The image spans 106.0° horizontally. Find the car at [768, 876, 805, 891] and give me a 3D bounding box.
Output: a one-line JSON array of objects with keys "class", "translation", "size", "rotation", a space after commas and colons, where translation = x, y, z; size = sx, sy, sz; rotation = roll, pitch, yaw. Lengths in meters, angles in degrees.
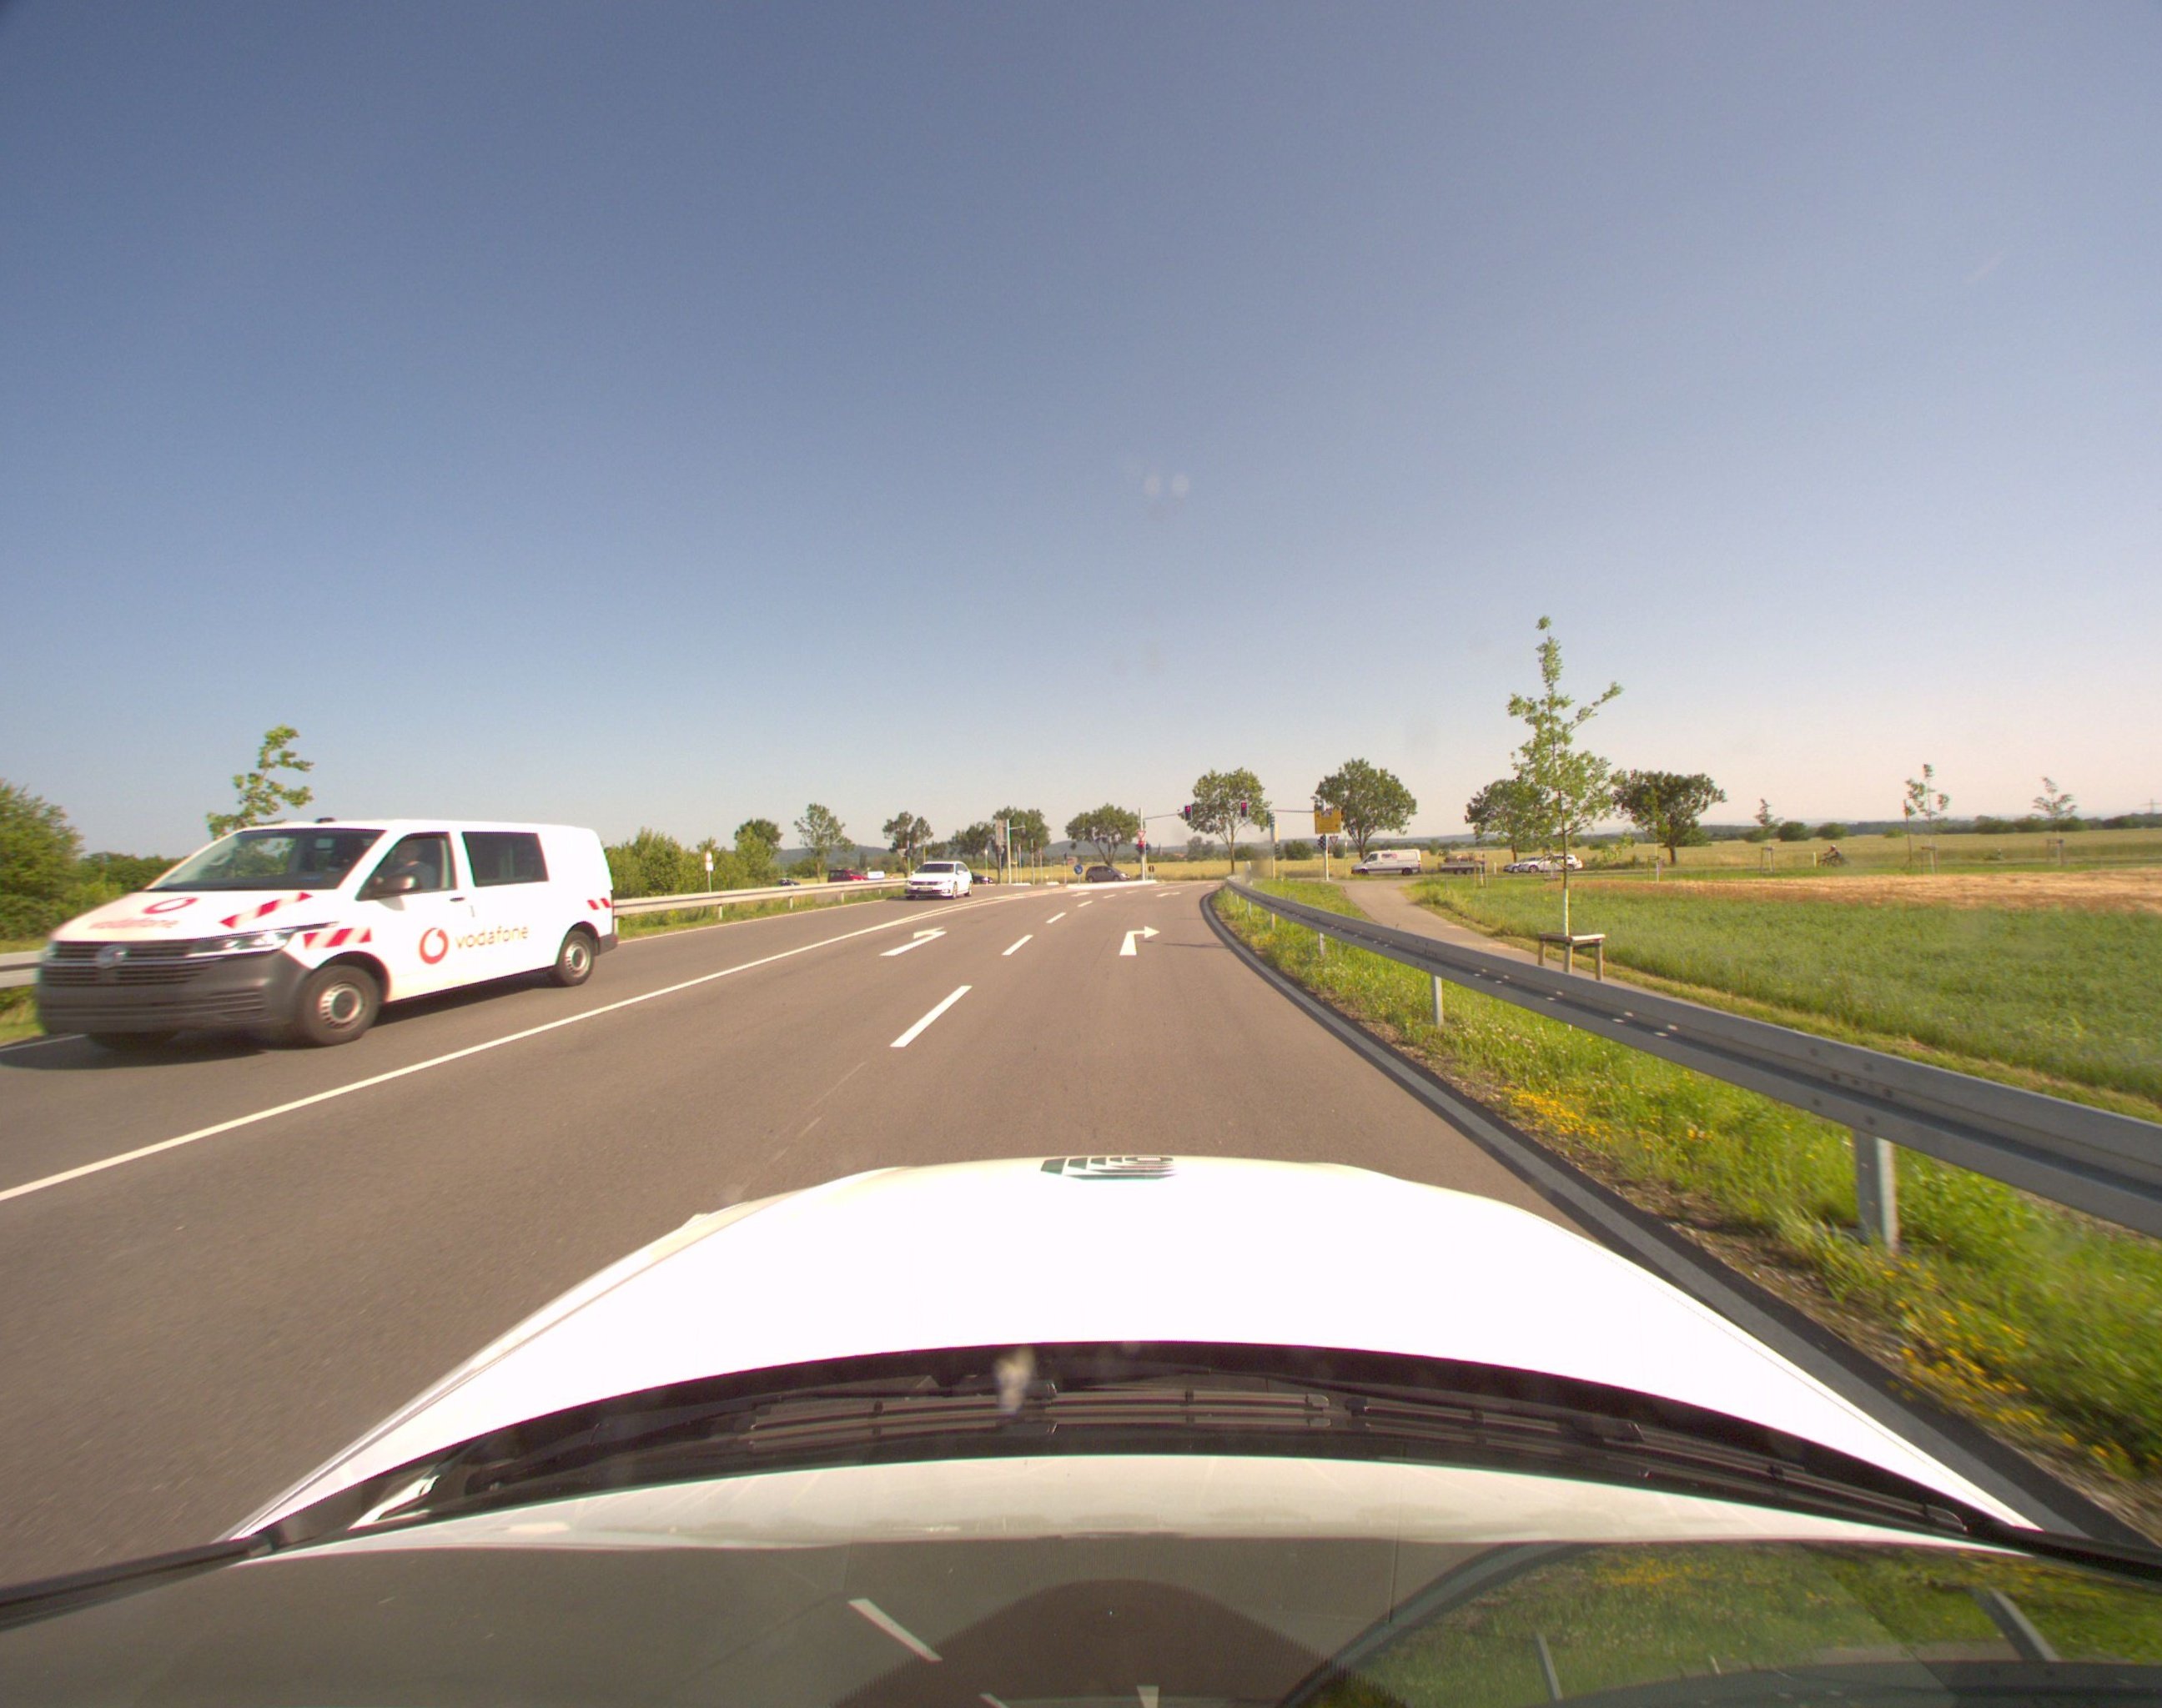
[{"class": "car", "translation": [-33.626, 3.380, 92.908], "size": [3.694, 1.457, 1.738], "rotation": [-3, -1, 24]}]

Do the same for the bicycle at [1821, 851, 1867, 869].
[{"class": "bicycle", "translation": [52.539, 0.421, 56.081], "size": [2.140, 1.186, 0.893], "rotation": [-1, -2, 14]}]

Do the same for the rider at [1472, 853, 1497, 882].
[{"class": "rider", "translation": [24.396, 0.815, 49.236], "size": [0.824, 1.643, 0.981], "rotation": [-2, 0, -30]}]

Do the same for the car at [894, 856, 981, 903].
[{"class": "car", "translation": [-5.452, 0.917, 31.734], "size": [2.105, 1.493, 5.160], "rotation": [0, 2, 5]}]

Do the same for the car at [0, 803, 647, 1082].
[{"class": "car", "translation": [-7.027, 0.556, 8.459], "size": [2.107, 2.013, 5.157], "rotation": [0, 2, 2]}]

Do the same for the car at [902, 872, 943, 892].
[{"class": "car", "translation": [-14.275, 2.544, 73.019], "size": [1.705, 1.674, 4.808], "rotation": [2, -5, -37]}]

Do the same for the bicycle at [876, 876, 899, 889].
[{"class": "bicycle", "translation": [-20.677, 3.006, 86.884], "size": [2.468, 1.397, 0.736], "rotation": [-1, -2, 27]}]

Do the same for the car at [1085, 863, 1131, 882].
[{"class": "car", "translation": [2.542, 1.725, 75.599], "size": [3.924, 1.668, 1.771], "rotation": [0, -2, 17]}]

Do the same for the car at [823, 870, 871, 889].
[{"class": "car", "translation": [-23.557, 2.545, 81.914], "size": [4.862, 1.940, 1.851], "rotation": [-1, -1, 34]}]

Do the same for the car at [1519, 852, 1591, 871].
[{"class": "car", "translation": [39.492, 0.639, 68.020], "size": [4.833, 1.510, 2.007], "rotation": [0, -2, 14]}]

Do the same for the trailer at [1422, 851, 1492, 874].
[{"class": "trailer", "translation": [32.168, 0.771, 69.871], "size": [5.219, 1.753, 1.962], "rotation": [-2, -2, 17]}]

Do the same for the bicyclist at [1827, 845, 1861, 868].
[{"class": "bicyclist", "translation": [52.501, 0.170, 56.059], "size": [1.269, 1.601, 1.170], "rotation": [-1, 0, 14]}]

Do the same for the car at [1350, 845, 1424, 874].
[{"class": "car", "translation": [26.774, 0.545, 71.518], "size": [5.910, 2.493, 2.009], "rotation": [0, -2, 17]}]

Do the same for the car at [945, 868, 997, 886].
[{"class": "car", "translation": [-10.925, 2.291, 80.826], "size": [4.632, 1.519, 1.932], "rotation": [-2, 0, 21]}]
